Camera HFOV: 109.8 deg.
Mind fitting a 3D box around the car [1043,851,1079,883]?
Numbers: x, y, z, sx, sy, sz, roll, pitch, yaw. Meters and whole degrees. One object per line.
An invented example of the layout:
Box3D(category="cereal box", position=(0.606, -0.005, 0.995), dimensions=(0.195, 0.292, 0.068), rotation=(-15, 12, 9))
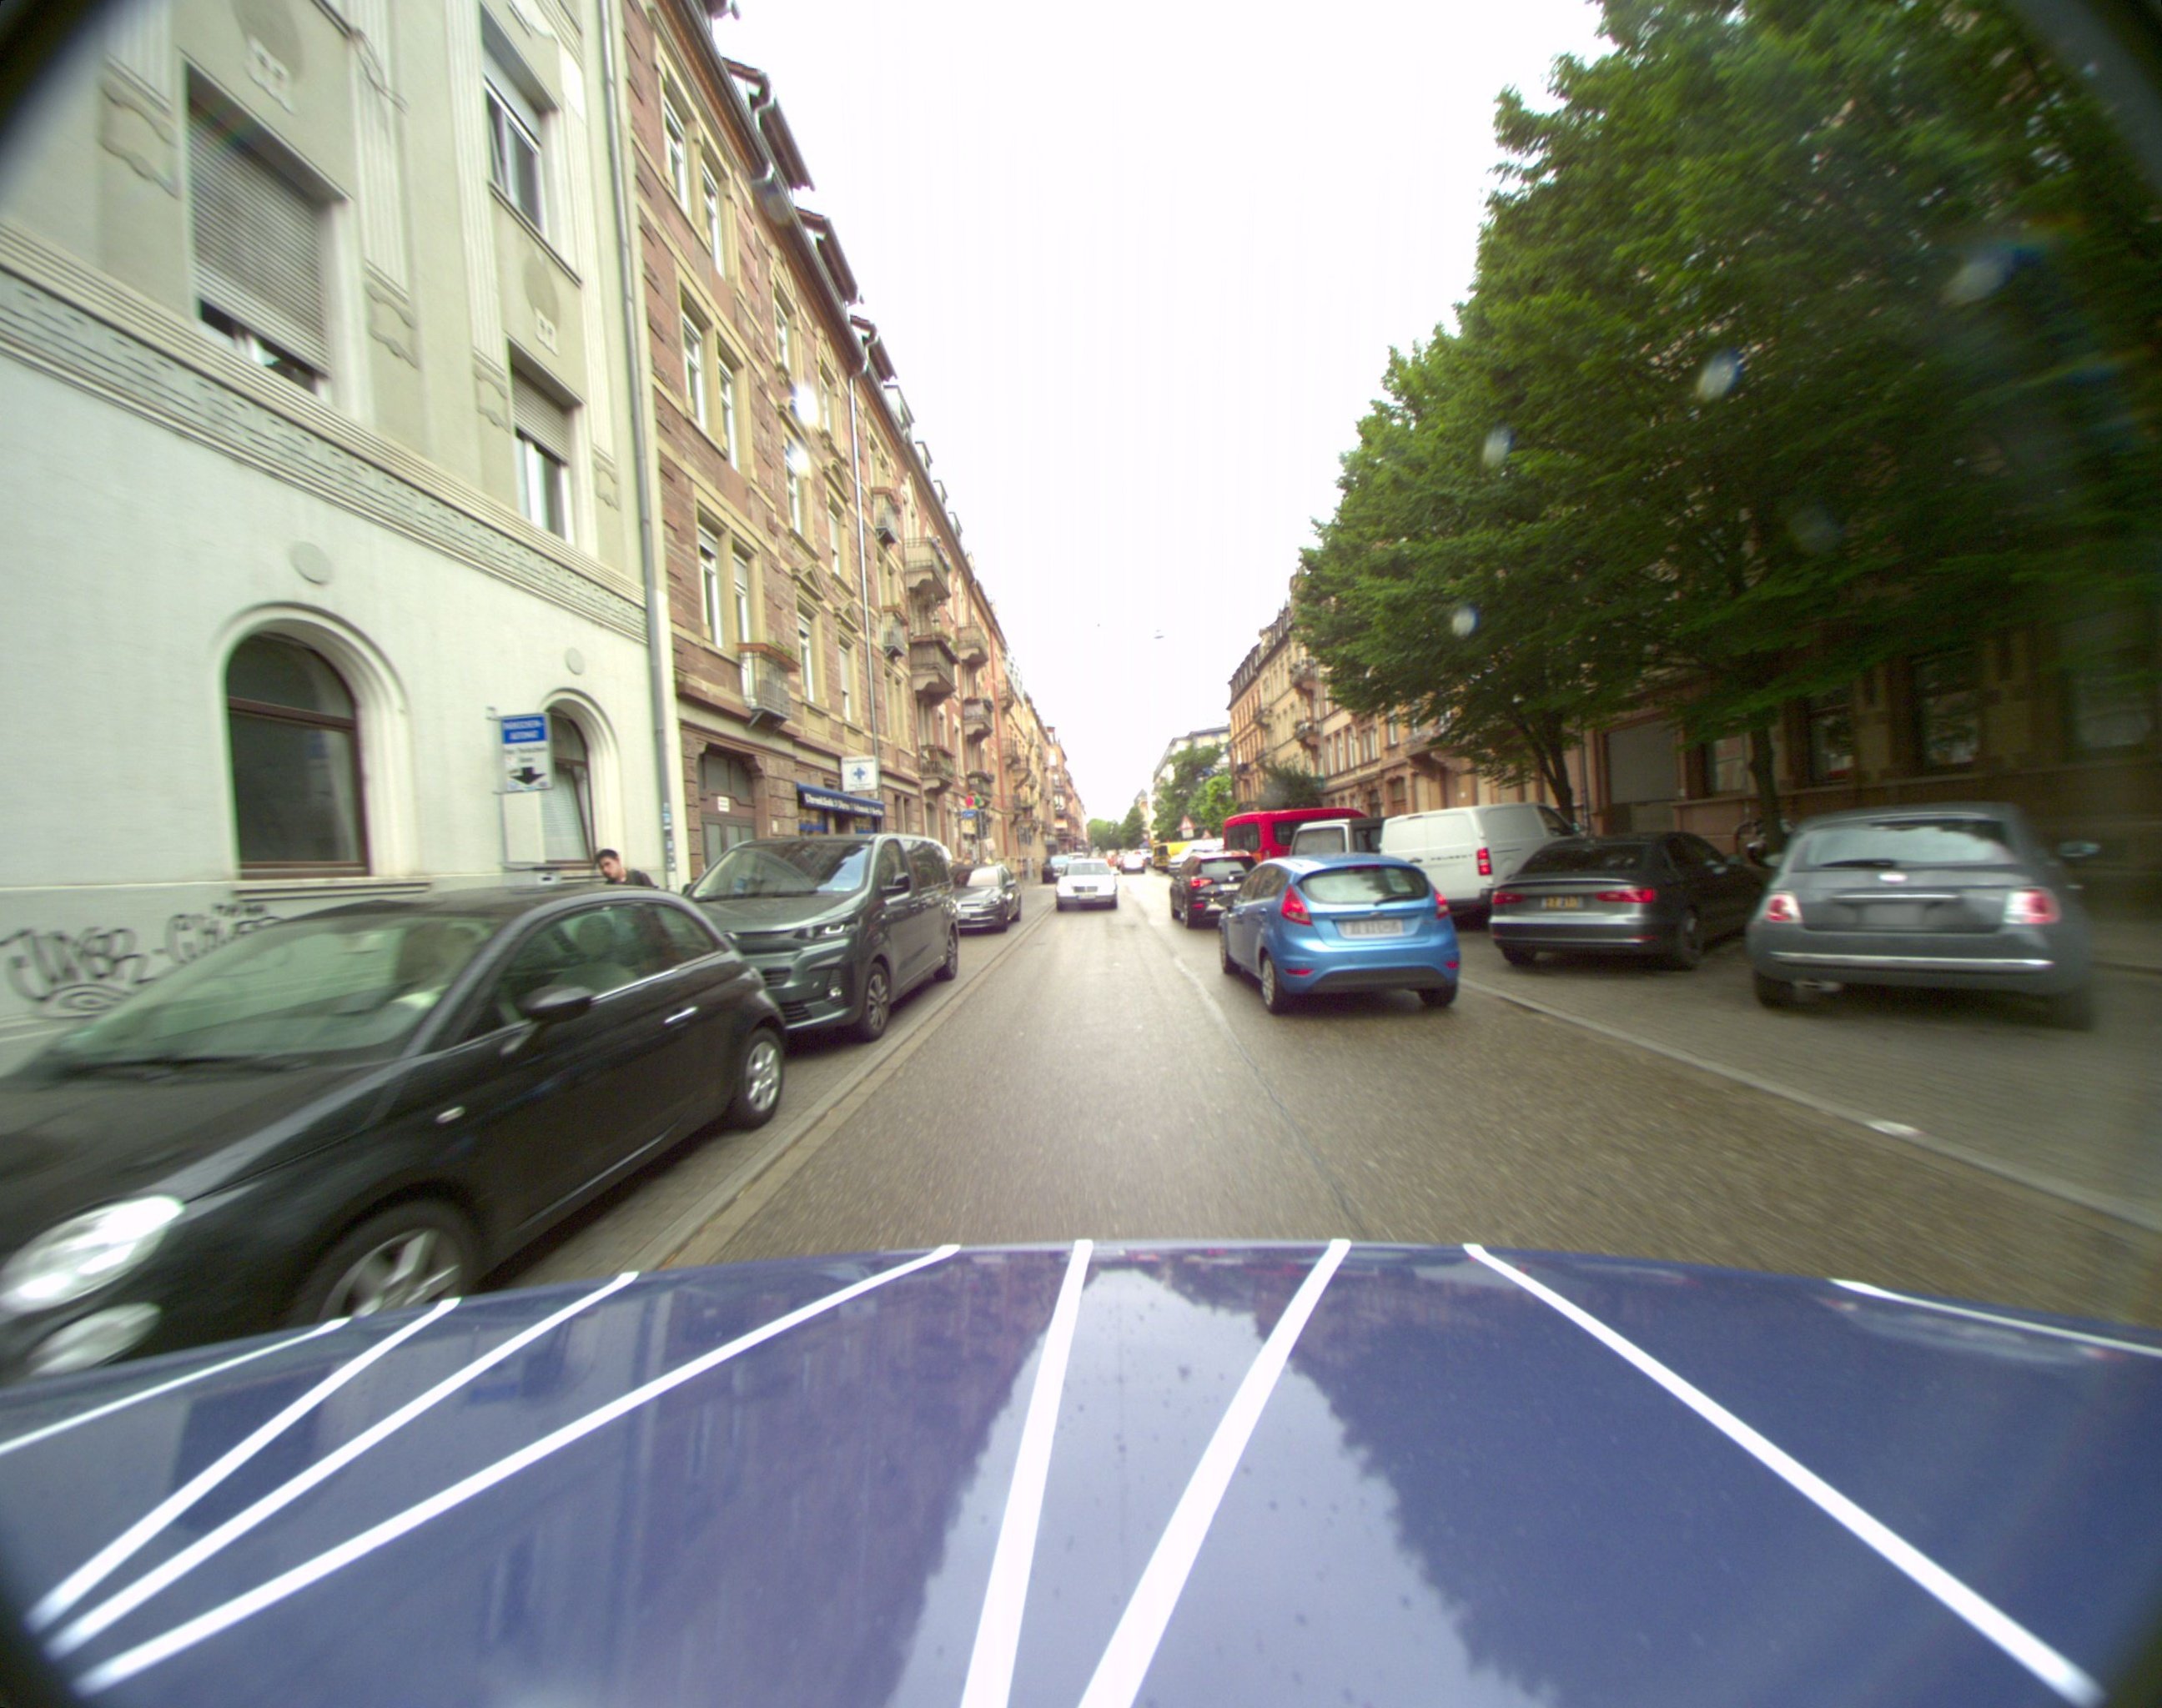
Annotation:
Box3D(category="car", position=(-1.188, 0.753, 47.459), dimensions=(1.998, 1.769, 4.826), rotation=(-3, 0, 1))

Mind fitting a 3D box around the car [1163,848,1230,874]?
Box3D(category="car", position=(7.688, 0.447, 50.507), dimensions=(4.004, 1.427, 1.781), rotation=(-4, 1, -26))

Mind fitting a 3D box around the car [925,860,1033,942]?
Box3D(category="car", position=(-2.259, 0.995, 17.826), dimensions=(1.845, 1.536, 4.003), rotation=(-3, 0, 1))

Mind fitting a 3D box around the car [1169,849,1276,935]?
Box3D(category="car", position=(2.931, 0.711, 16.498), dimensions=(1.673, 1.550, 4.004), rotation=(-4, 0, 3))

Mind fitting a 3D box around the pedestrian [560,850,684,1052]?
Box3D(category="pedestrian", position=(-4.621, 0.965, 7.680), dimensions=(0.827, 1.940, 0.415), rotation=(-4, 3, 3))

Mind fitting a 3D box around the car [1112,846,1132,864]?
Box3D(category="car", position=(4.231, 0.091, 78.849), dimensions=(1.863, 1.650, 5.009), rotation=(-3, 0, 2))

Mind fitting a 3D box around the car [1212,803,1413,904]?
Box3D(category="car", position=(6.961, -0.047, 22.756), dimensions=(5.579, 2.526, 2.225), rotation=(-4, 0, -25))

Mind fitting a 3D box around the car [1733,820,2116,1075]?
Box3D(category="car", position=(6.713, 0.515, 6.116), dimensions=(3.487, 1.427, 1.647), rotation=(-3, 0, -40))

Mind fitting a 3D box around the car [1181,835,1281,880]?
Box3D(category="car", position=(7.734, 0.181, 39.672), dimensions=(4.590, 1.775, 2.545), rotation=(-6, 0, 1))

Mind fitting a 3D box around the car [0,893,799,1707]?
Box3D(category="car", position=(-2.757, 0.990, 3.055), dimensions=(1.714, 1.392, 3.705), rotation=(-3, 0, 1))

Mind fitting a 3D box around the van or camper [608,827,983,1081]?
Box3D(category="van or camper", position=(-2.529, 0.770, 8.386), dimensions=(2.026, 1.880, 5.055), rotation=(-3, 0, 2))

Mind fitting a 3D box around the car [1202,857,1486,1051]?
Box3D(category="car", position=(2.464, 0.824, 8.203), dimensions=(1.674, 1.457, 4.003), rotation=(-3, 0, 1))

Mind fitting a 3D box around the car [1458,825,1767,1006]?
Box3D(category="car", position=(6.286, 0.564, 8.827), dimensions=(3.985, 1.438, 1.763), rotation=(-6, 0, -38))

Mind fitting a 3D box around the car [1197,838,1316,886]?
Box3D(category="car", position=(7.162, 0.332, 31.010), dimensions=(4.360, 1.496, 1.752), rotation=(-6, 0, -20))

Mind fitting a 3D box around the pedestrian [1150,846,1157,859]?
Box3D(category="pedestrian", position=(10.753, -0.192, 112.579), dimensions=(0.862, 1.837, 0.770), rotation=(-4, 0, 10))

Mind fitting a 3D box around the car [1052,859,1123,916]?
Box3D(category="car", position=(0.202, 0.948, 23.441), dimensions=(1.859, 1.390, 4.980), rotation=(-4, 0, 1))

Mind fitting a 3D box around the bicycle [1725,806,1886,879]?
Box3D(category="bicycle", position=(13.506, -0.199, 14.298), dimensions=(0.668, 1.186, 2.413), rotation=(-7, 0, 3))

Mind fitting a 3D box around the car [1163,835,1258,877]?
Box3D(category="car", position=(7.696, 0.102, 45.102), dimensions=(5.258, 2.066, 1.867), rotation=(-5, 1, -22))

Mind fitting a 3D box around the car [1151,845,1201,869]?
Box3D(category="car", position=(8.555, 0.224, 68.335), dimensions=(4.143, 1.652, 1.797), rotation=(-7, 2, -34))

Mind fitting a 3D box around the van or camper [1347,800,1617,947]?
Box3D(category="van or camper", position=(7.007, 0.244, 13.074), dimensions=(4.705, 1.941, 2.332), rotation=(-6, 0, -39))

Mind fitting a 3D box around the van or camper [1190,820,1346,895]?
Box3D(category="van or camper", position=(6.897, 0.110, 28.042), dimensions=(5.030, 2.335, 2.340), rotation=(-4, 0, -24))

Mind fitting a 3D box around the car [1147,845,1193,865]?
Box3D(category="car", position=(9.230, 0.092, 78.790), dimensions=(4.464, 1.555, 1.995), rotation=(-6, 3, -34))

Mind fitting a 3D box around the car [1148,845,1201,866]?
Box3D(category="car", position=(9.104, 0.148, 73.971), dimensions=(4.731, 1.554, 1.996), rotation=(-6, 0, -32))

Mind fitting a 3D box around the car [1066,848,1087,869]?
Box3D(category="car", position=(-0.435, 0.408, 77.182), dimensions=(1.999, 1.927, 5.229), rotation=(-2, 0, -1))

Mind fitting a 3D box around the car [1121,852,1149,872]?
Box3D(category="car", position=(4.345, 0.642, 61.633), dimensions=(1.800, 1.485, 4.582), rotation=(-4, 0, -1))

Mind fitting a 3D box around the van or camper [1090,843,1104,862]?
Box3D(category="van or camper", position=(2.913, -0.239, 139.772), dimensions=(2.411, 3.308, 7.073), rotation=(-4, 0, 1))

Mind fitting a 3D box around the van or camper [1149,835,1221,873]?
Box3D(category="van or camper", position=(7.747, 0.011, 56.450), dimensions=(4.732, 2.254, 2.181), rotation=(-6, 0, -30))

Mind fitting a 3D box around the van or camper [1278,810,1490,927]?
Box3D(category="van or camper", position=(6.601, 0.250, 16.397), dimensions=(4.454, 1.964, 1.778), rotation=(-6, 1, -31))

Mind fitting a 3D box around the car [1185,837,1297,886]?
Box3D(category="car", position=(7.050, 0.349, 33.467), dimensions=(4.449, 1.621, 1.841), rotation=(-7, 0, -24))
